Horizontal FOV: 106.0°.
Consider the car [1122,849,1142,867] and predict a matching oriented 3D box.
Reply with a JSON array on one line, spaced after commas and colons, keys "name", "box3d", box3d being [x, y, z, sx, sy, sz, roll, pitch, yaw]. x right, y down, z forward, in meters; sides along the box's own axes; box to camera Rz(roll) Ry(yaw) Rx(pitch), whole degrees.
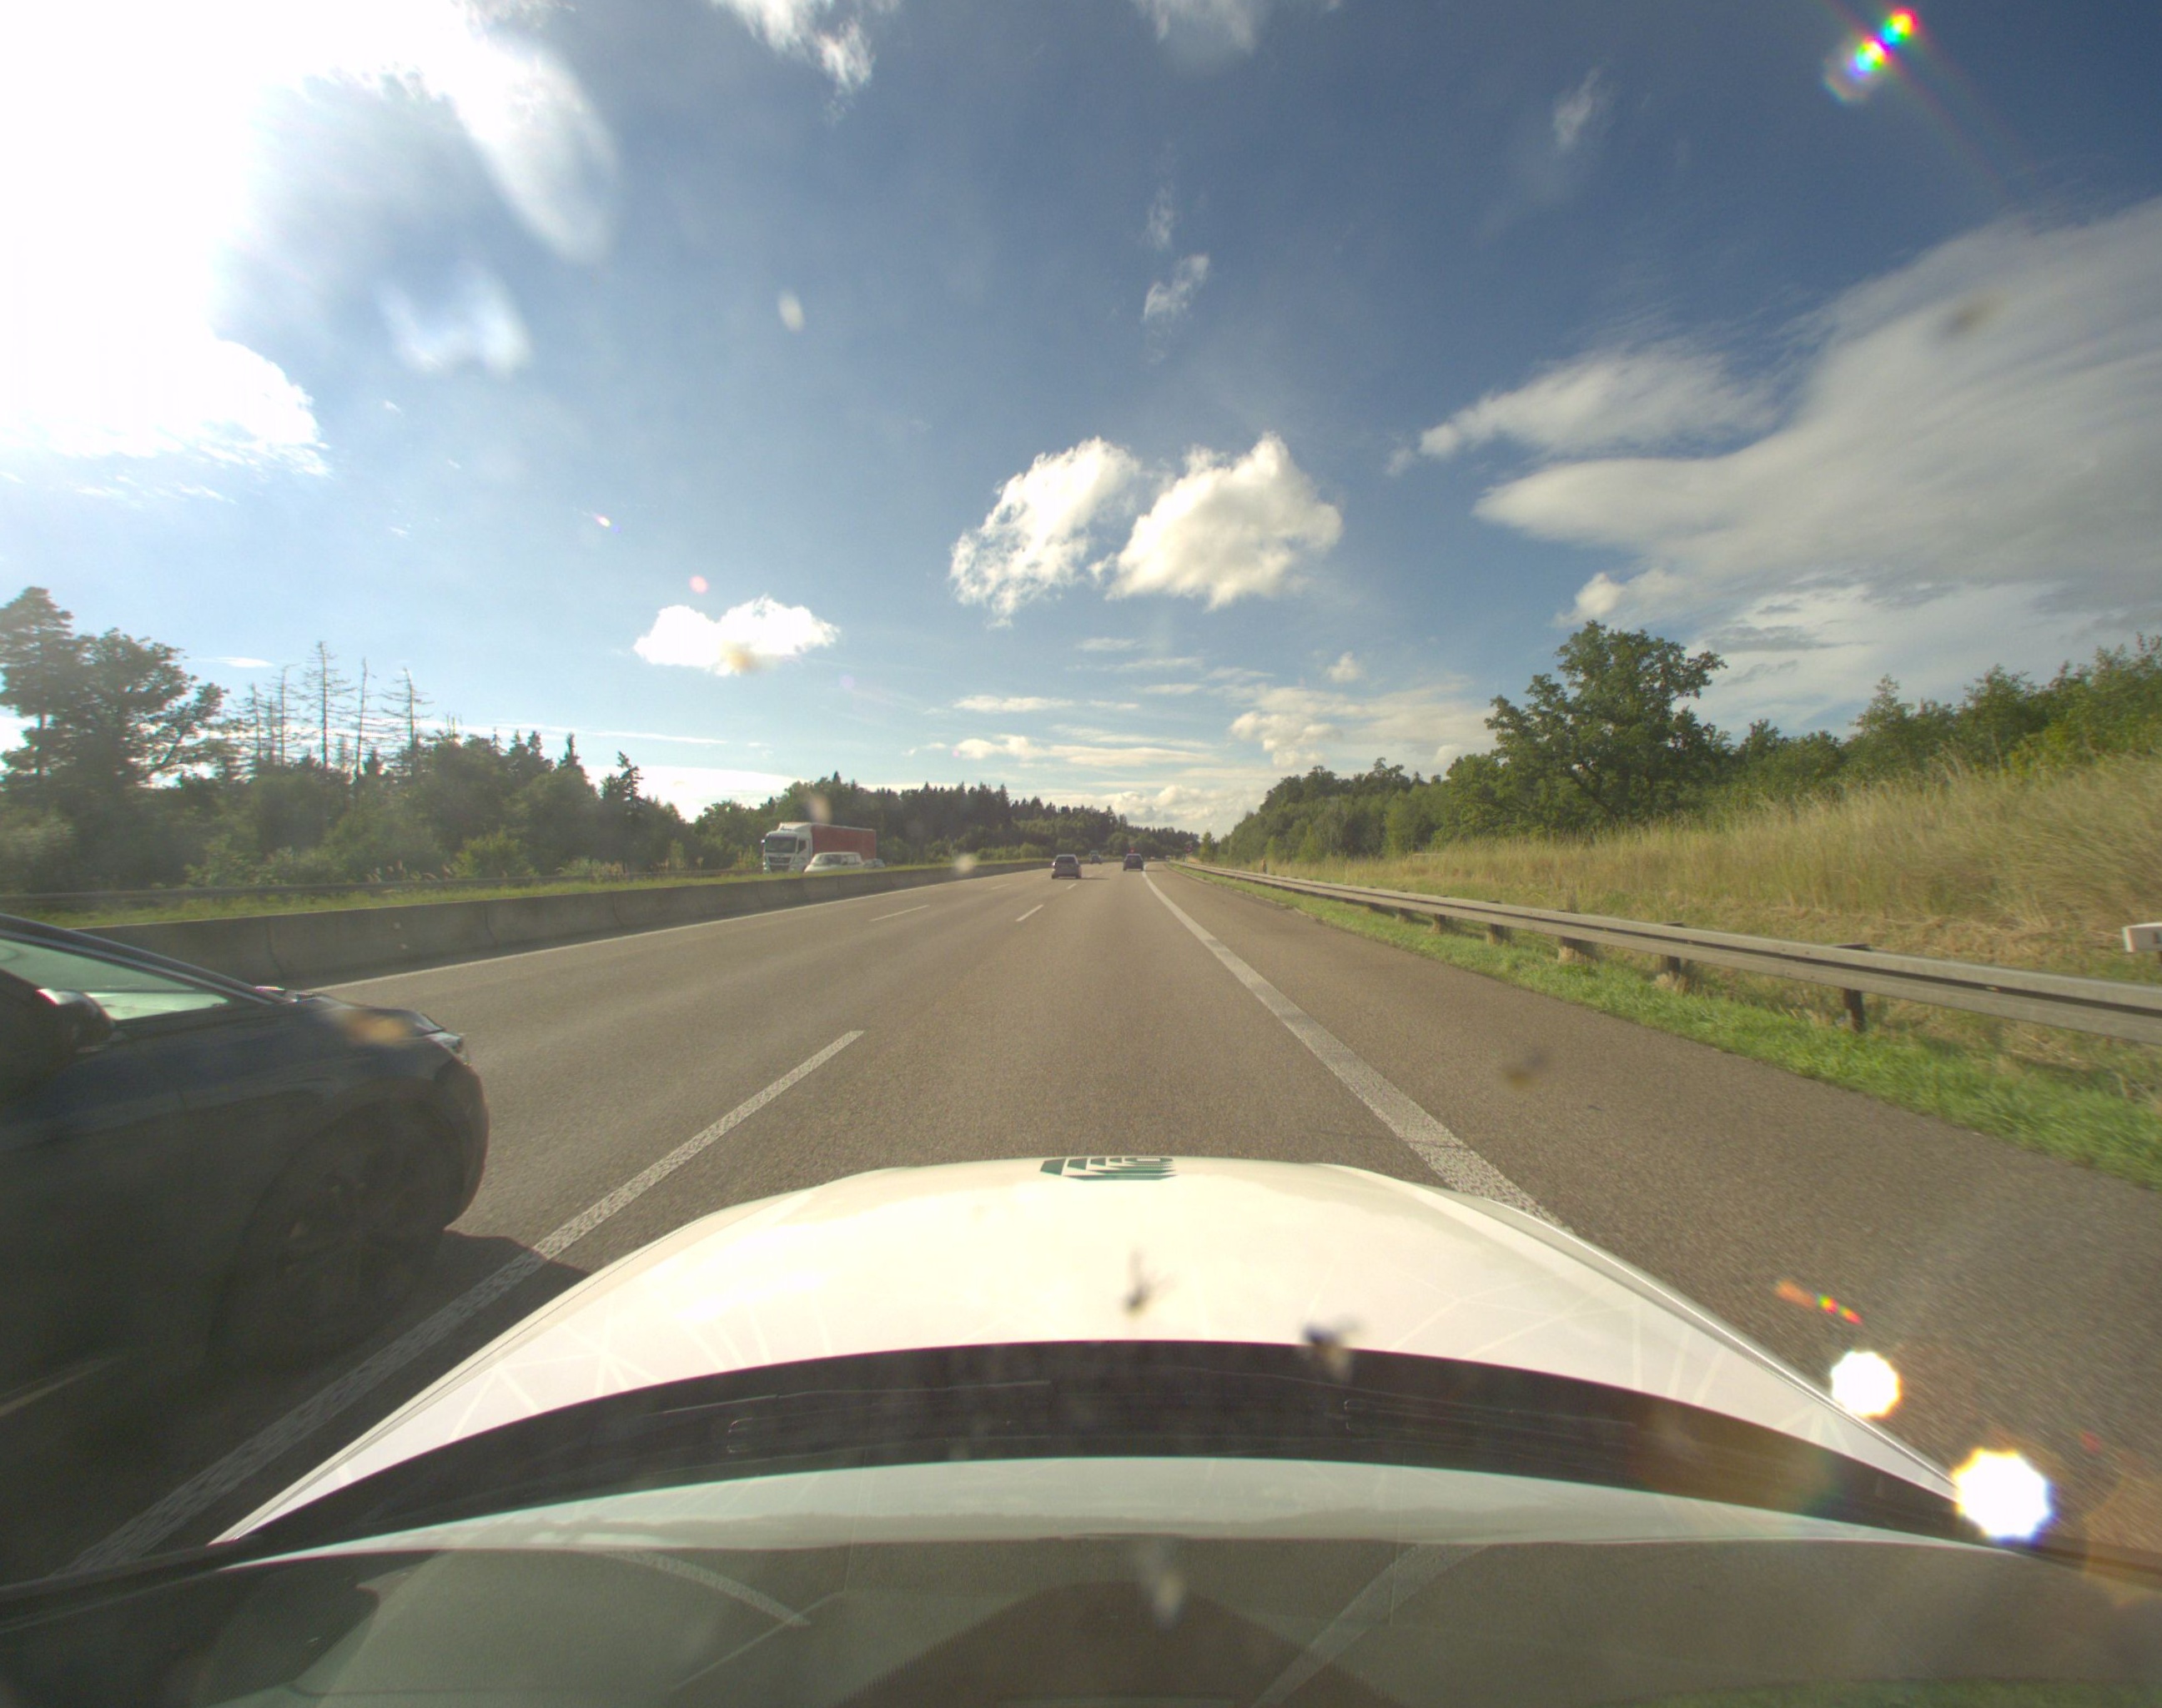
[{"name": "car", "box3d": [4.903, 0.342, 78.118, 1.866, 1.675, 3.893, 0, 0, 3]}]

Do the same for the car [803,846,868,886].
[{"name": "car", "box3d": [-13.096, 0.623, 43.714, 1.985, 2.013, 4.356, -1, 0, 3]}]

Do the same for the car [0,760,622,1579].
[{"name": "car", "box3d": [-3.255, 0.667, 1.626, 1.986, 1.707, 4.531, -1, 0, 2]}]

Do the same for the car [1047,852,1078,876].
[{"name": "car", "box3d": [-1.139, 0.637, 52.959, 1.867, 1.497, 3.880, 0, 0, 1]}]

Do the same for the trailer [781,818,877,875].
[{"name": "trailer", "box3d": [-19.805, -0.535, 65.218, 3.009, 4.108, 12.802, -1, 0, 3]}]

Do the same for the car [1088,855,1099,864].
[{"name": "car", "box3d": [2.239, 0.935, 143.797, 1.866, 1.497, 3.883, 0, 0, 3]}]

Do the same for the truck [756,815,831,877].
[{"name": "truck", "box3d": [-20.227, -0.543, 57.671, 3.011, 4.108, 5.673, -1, 0, 3]}]
